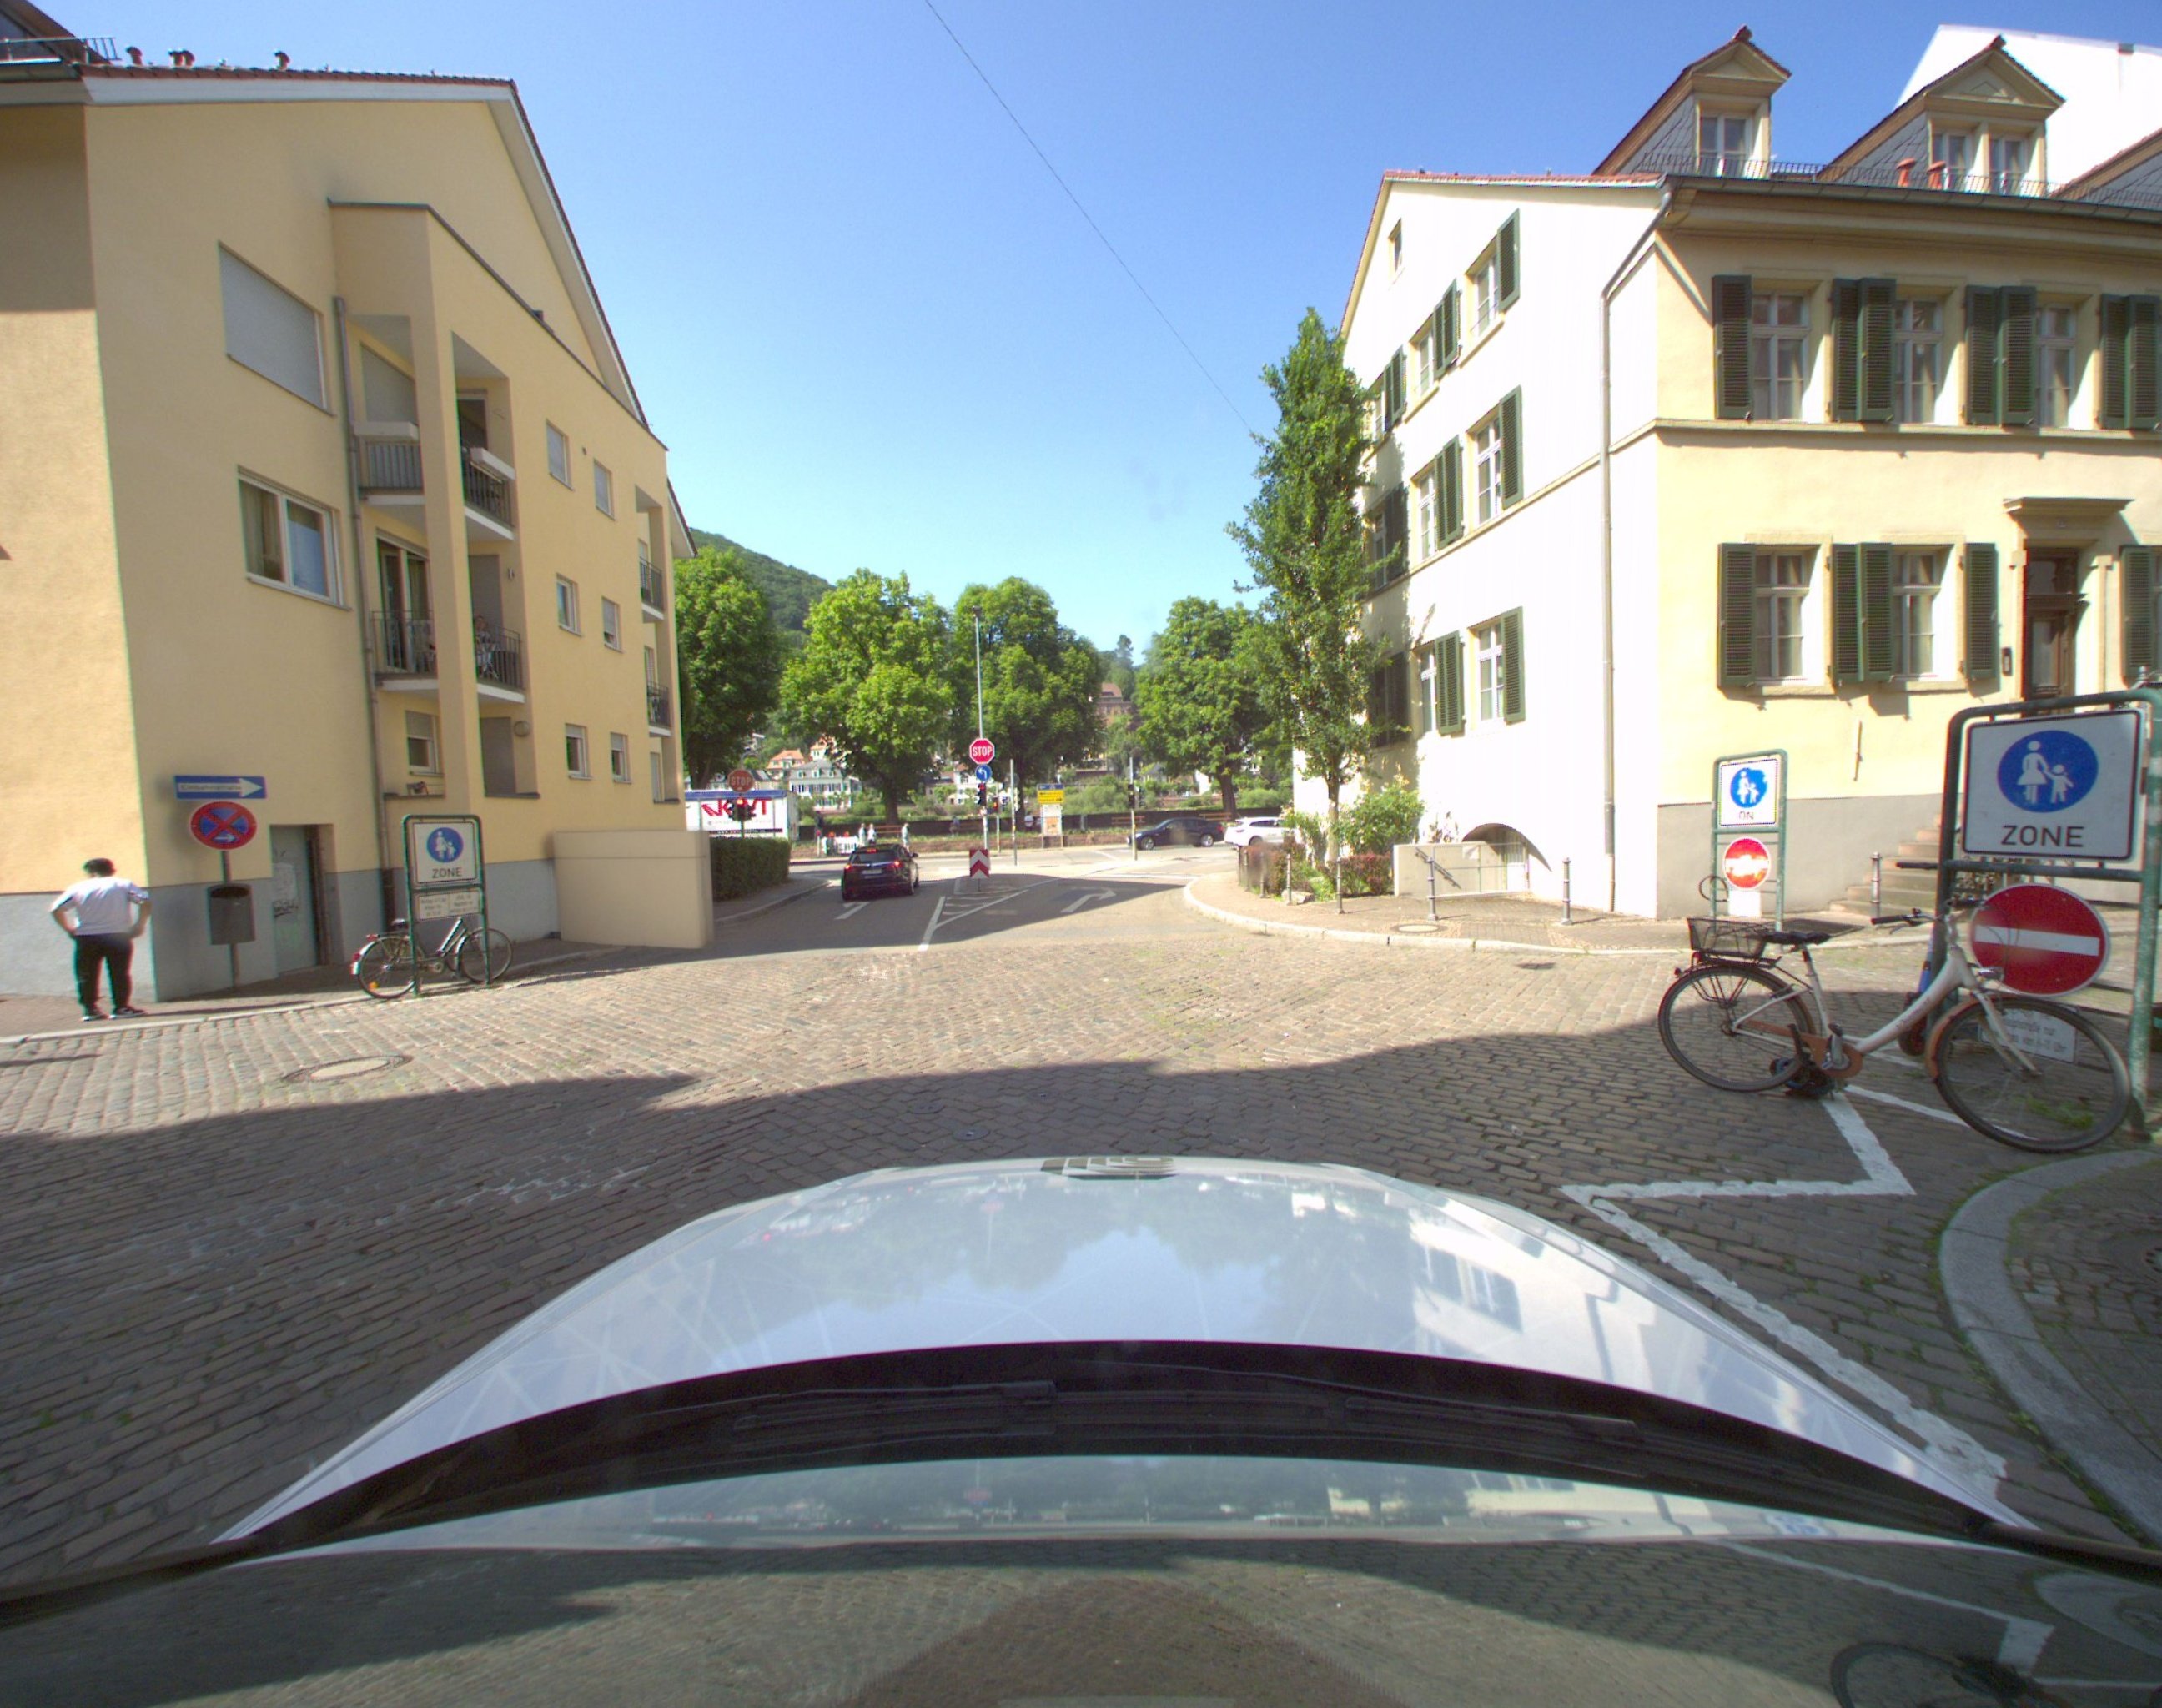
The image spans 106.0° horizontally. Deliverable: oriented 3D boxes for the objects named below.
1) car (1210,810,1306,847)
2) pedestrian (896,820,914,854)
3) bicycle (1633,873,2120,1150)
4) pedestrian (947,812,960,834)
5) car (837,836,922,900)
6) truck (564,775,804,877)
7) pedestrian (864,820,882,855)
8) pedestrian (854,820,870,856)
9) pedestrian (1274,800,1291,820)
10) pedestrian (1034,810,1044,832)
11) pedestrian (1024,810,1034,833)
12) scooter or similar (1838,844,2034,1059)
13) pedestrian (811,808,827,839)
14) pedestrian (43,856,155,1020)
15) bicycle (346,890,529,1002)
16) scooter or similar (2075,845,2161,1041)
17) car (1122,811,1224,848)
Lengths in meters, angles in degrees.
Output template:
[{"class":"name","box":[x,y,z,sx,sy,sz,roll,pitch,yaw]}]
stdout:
[{"class":"car","box":[8.194,-1.173,37.847,3.985,1.442,1.703,-4,1,-8]},{"class":"pedestrian","box":[-9.292,-0.900,43.127,0.686,1.769,0.717,-4,1,-1]},{"class":"bicycle","box":[4.070,0.703,4.343,0.508,1.146,1.772,-5,3,-41]},{"class":"pedestrian","box":[-7.376,-1.804,47.046,0.643,1.228,0.411,-3,1,-21]},{"class":"car","box":[-5.650,0.303,23.360,1.713,1.461,4.713,-5,3,-7]},{"class":"truck","box":[-18.250,-1.350,38.136,9.383,4.047,2.853,-4,1,-9]},{"class":"pedestrian","box":[-11.046,-0.902,43.307,0.720,1.801,0.633,-4,1,-5]},{"class":"pedestrian","box":[-11.325,-0.811,42.154,0.577,1.801,0.704,-4,1,-4]},{"class":"pedestrian","box":[12.418,-2.722,50.156,0.796,1.211,0.714,0,-1,-4]},{"class":"pedestrian","box":[-2.476,-1.956,48.158,0.552,1.228,0.984,0,-1,-7]},{"class":"pedestrian","box":[-3.060,-1.894,47.728,0.552,1.279,0.703,0,-1,-5]},{"class":"scooter or similar","box":[5.585,0.584,5.321,1.191,1.235,0.439,-3,2,-20]},{"class":"pedestrian","box":[-15.696,-1.827,48.740,0.766,1.857,0.750,-3,2,-25]},{"class":"pedestrian","box":[-10.280,0.844,8.554,0.486,1.618,0.661,0,2,42]},{"class":"bicycle","box":[-7.904,1.088,10.135,0.388,1.079,1.916,-2,2,12]},{"class":"scooter or similar","box":[7.085,0.556,5.015,1.175,1.209,0.344,-1,3,38]},{"class":"car","box":[4.658,-1.236,41.420,4.761,1.517,1.901,-4,2,-9]}]
